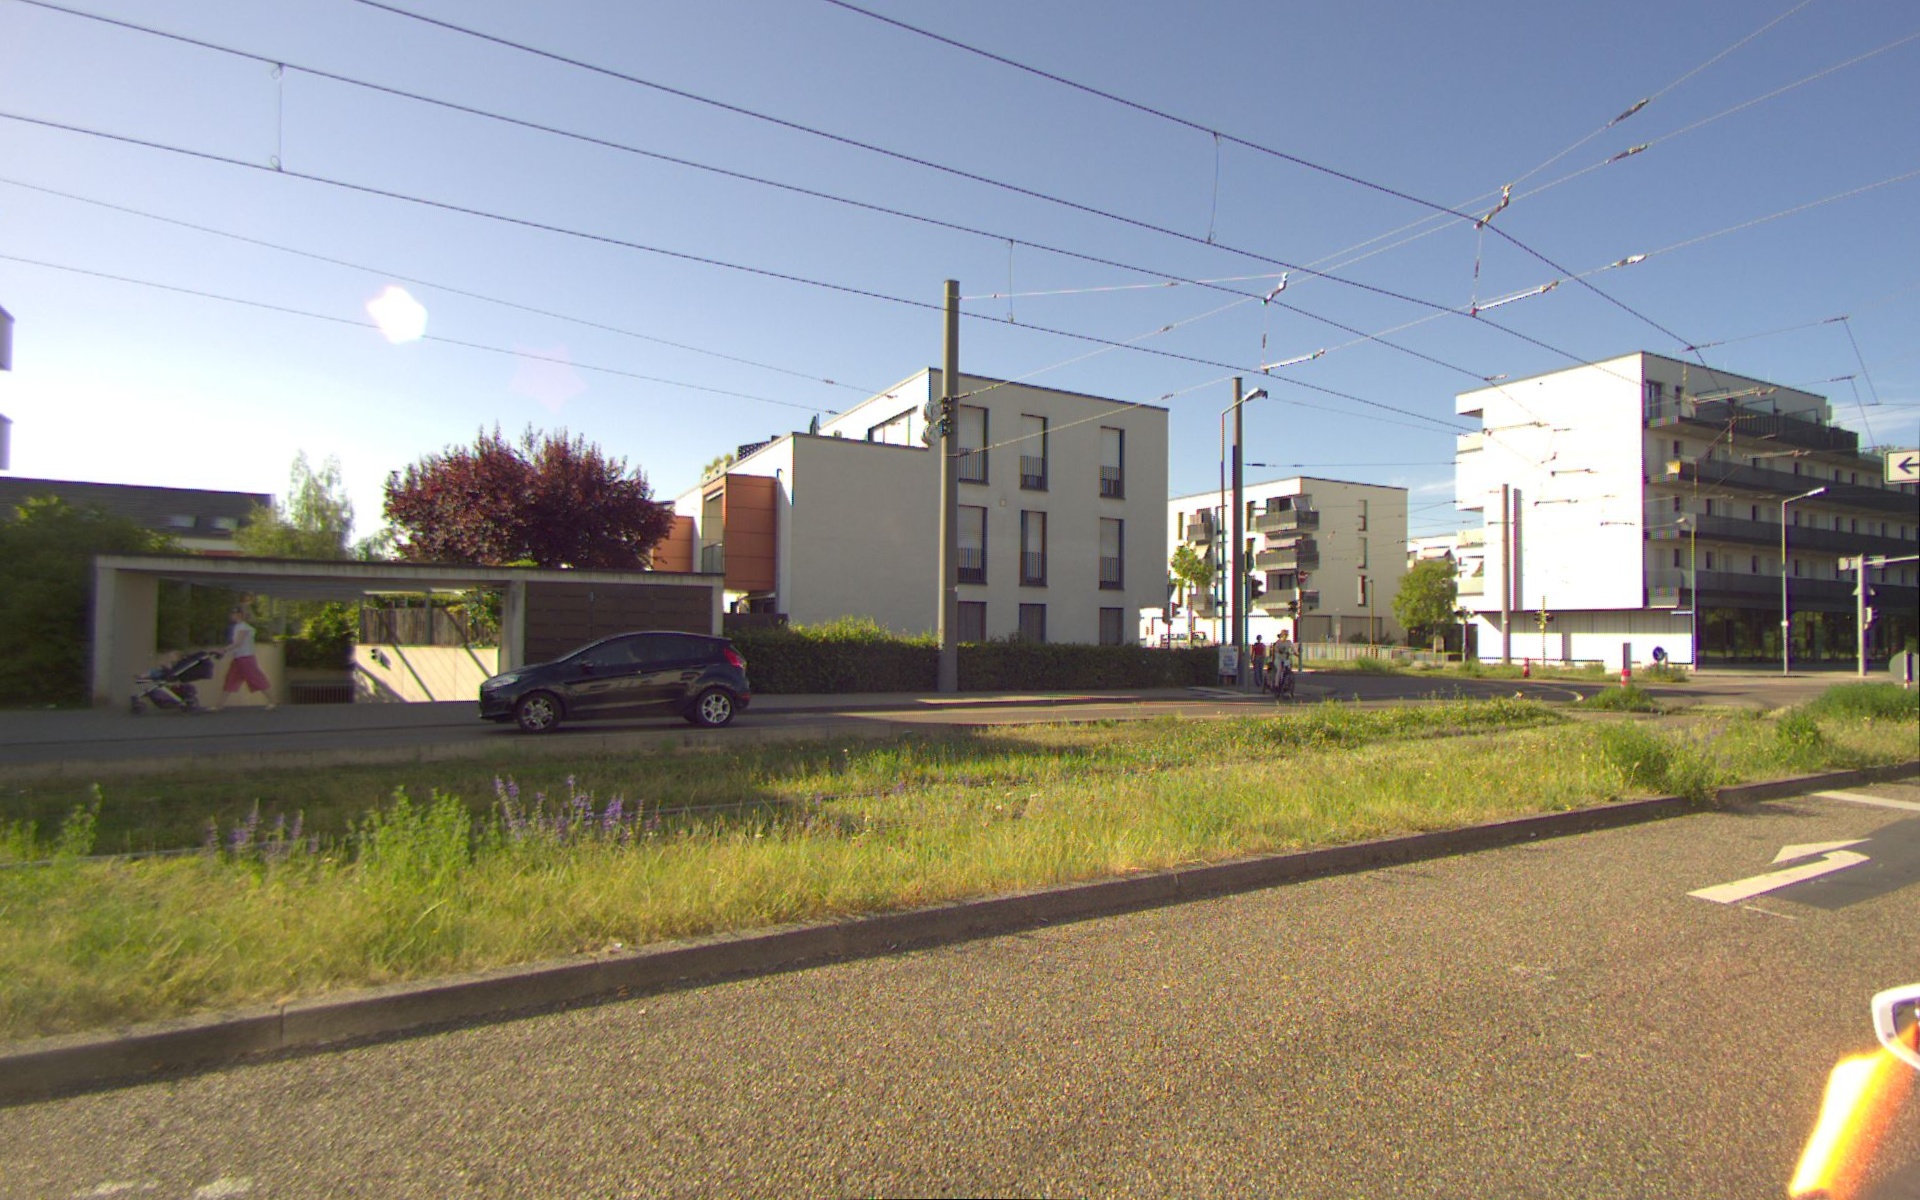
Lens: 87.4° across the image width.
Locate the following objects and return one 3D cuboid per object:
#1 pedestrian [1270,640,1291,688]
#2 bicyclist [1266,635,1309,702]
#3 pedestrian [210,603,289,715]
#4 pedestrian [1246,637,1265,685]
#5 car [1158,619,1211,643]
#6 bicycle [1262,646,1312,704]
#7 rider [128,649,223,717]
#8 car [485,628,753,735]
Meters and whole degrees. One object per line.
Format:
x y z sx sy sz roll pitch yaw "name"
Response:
10.235 2.045 32.055 0.548 1.483 0.611 1 0 23 "pedestrian"
8.519 1.765 26.164 0.956 1.651 0.913 1 0 14 "bicyclist"
-11.661 0.944 16.526 0.897 1.771 0.813 1 0 -25 "pedestrian"
9.592 1.971 32.587 0.548 1.483 0.742 1 0 19 "pedestrian"
17.858 2.459 80.138 1.977 1.862 3.967 1 0 -31 "car"
8.629 1.928 26.679 0.979 1.190 3.696 2 1 14 "bicycle"
-12.554 1.305 16.106 1.031 1.016 0.775 1 0 -25 "rider"
-5.165 1.181 15.279 3.689 1.449 1.699 1 -3 -25 "car"
